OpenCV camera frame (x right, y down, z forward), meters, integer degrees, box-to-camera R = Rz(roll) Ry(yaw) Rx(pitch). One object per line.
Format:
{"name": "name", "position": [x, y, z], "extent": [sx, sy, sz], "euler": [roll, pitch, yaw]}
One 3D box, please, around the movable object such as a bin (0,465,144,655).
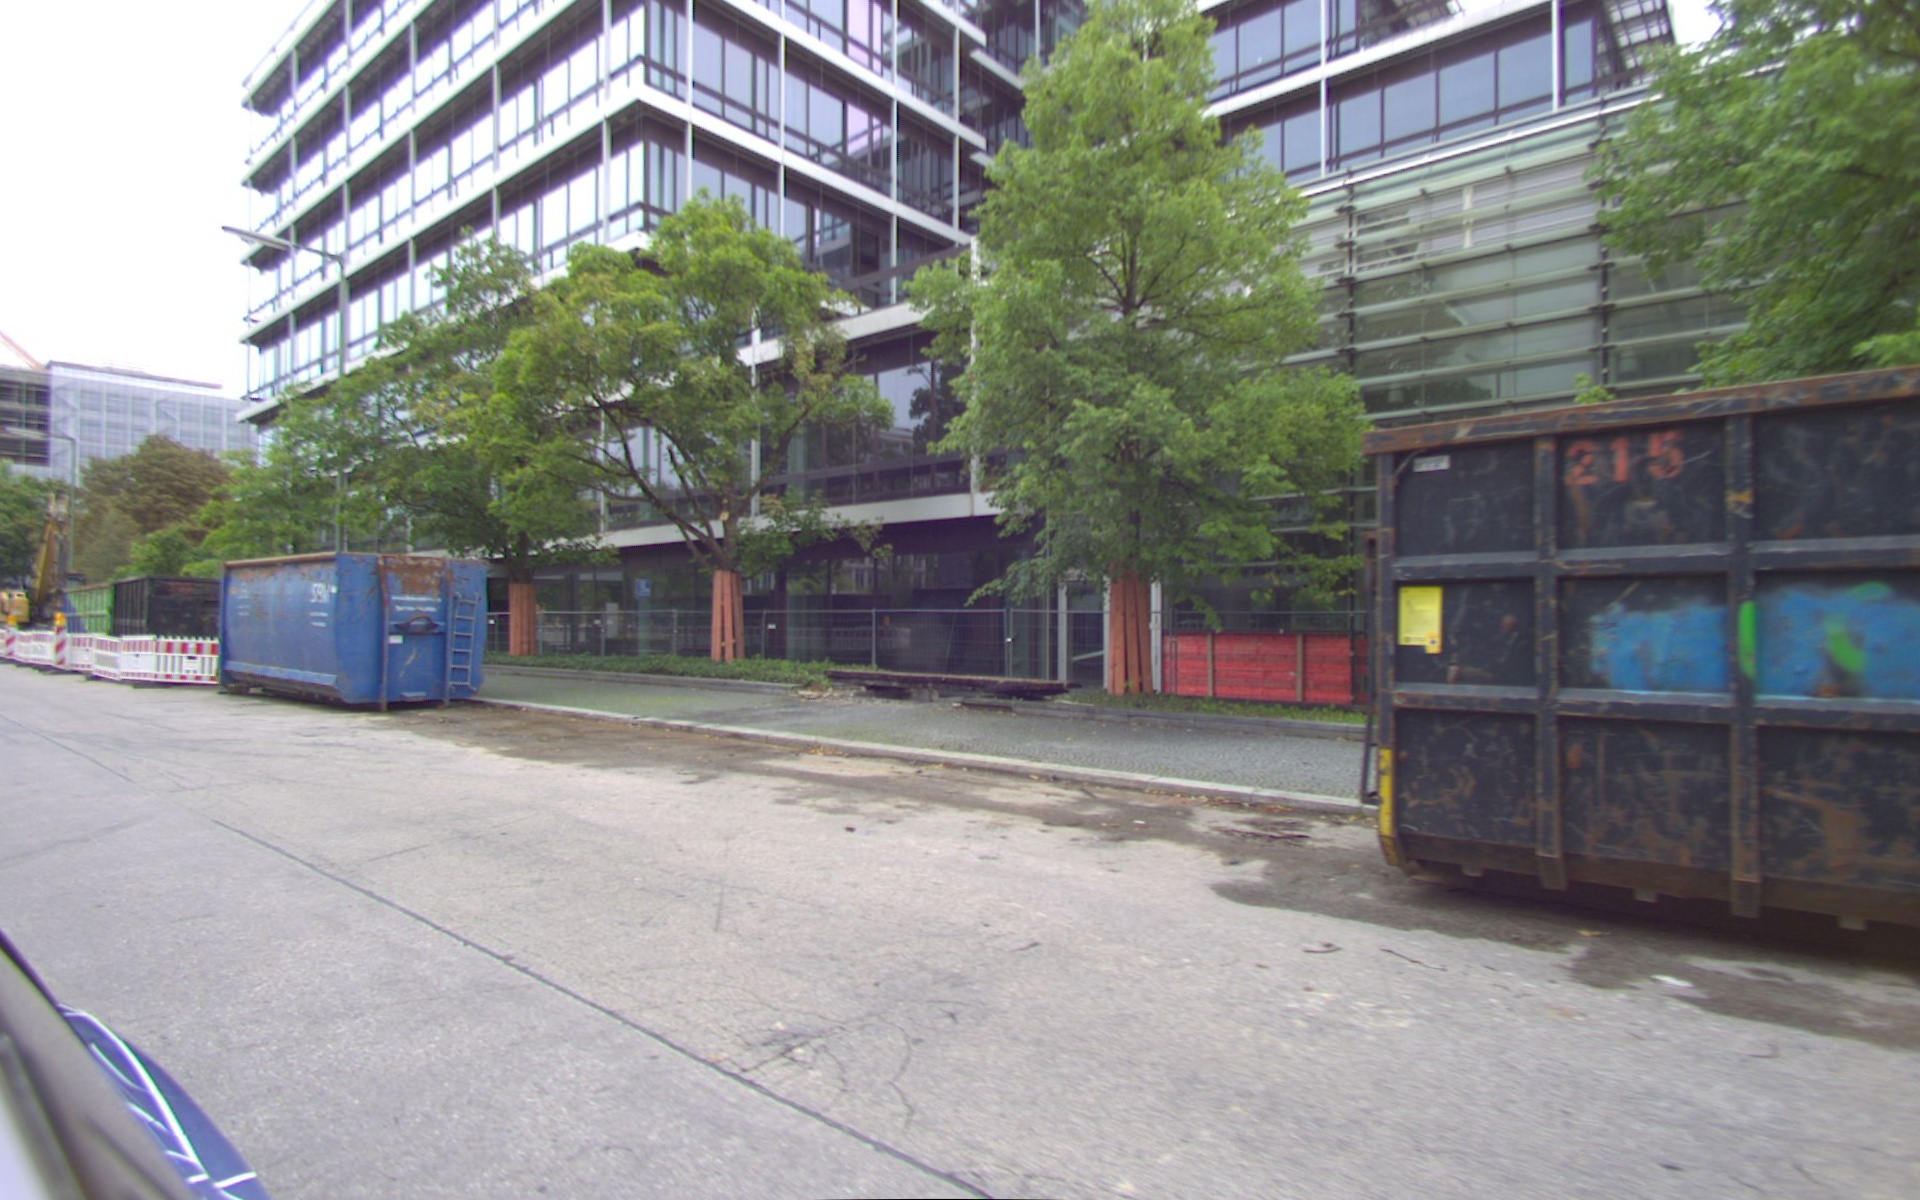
{"name": "movable object such as a bin", "position": [-35.640, -1.348, 40.140], "extent": [11.776, 6.614, 2.874], "euler": [-1, -1, 41]}

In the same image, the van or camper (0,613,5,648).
{"name": "van or camper", "position": [-58.849, 1.798, 60.706], "extent": [5.589, 2.050, 1.966], "euler": [-2, -4, 45]}
